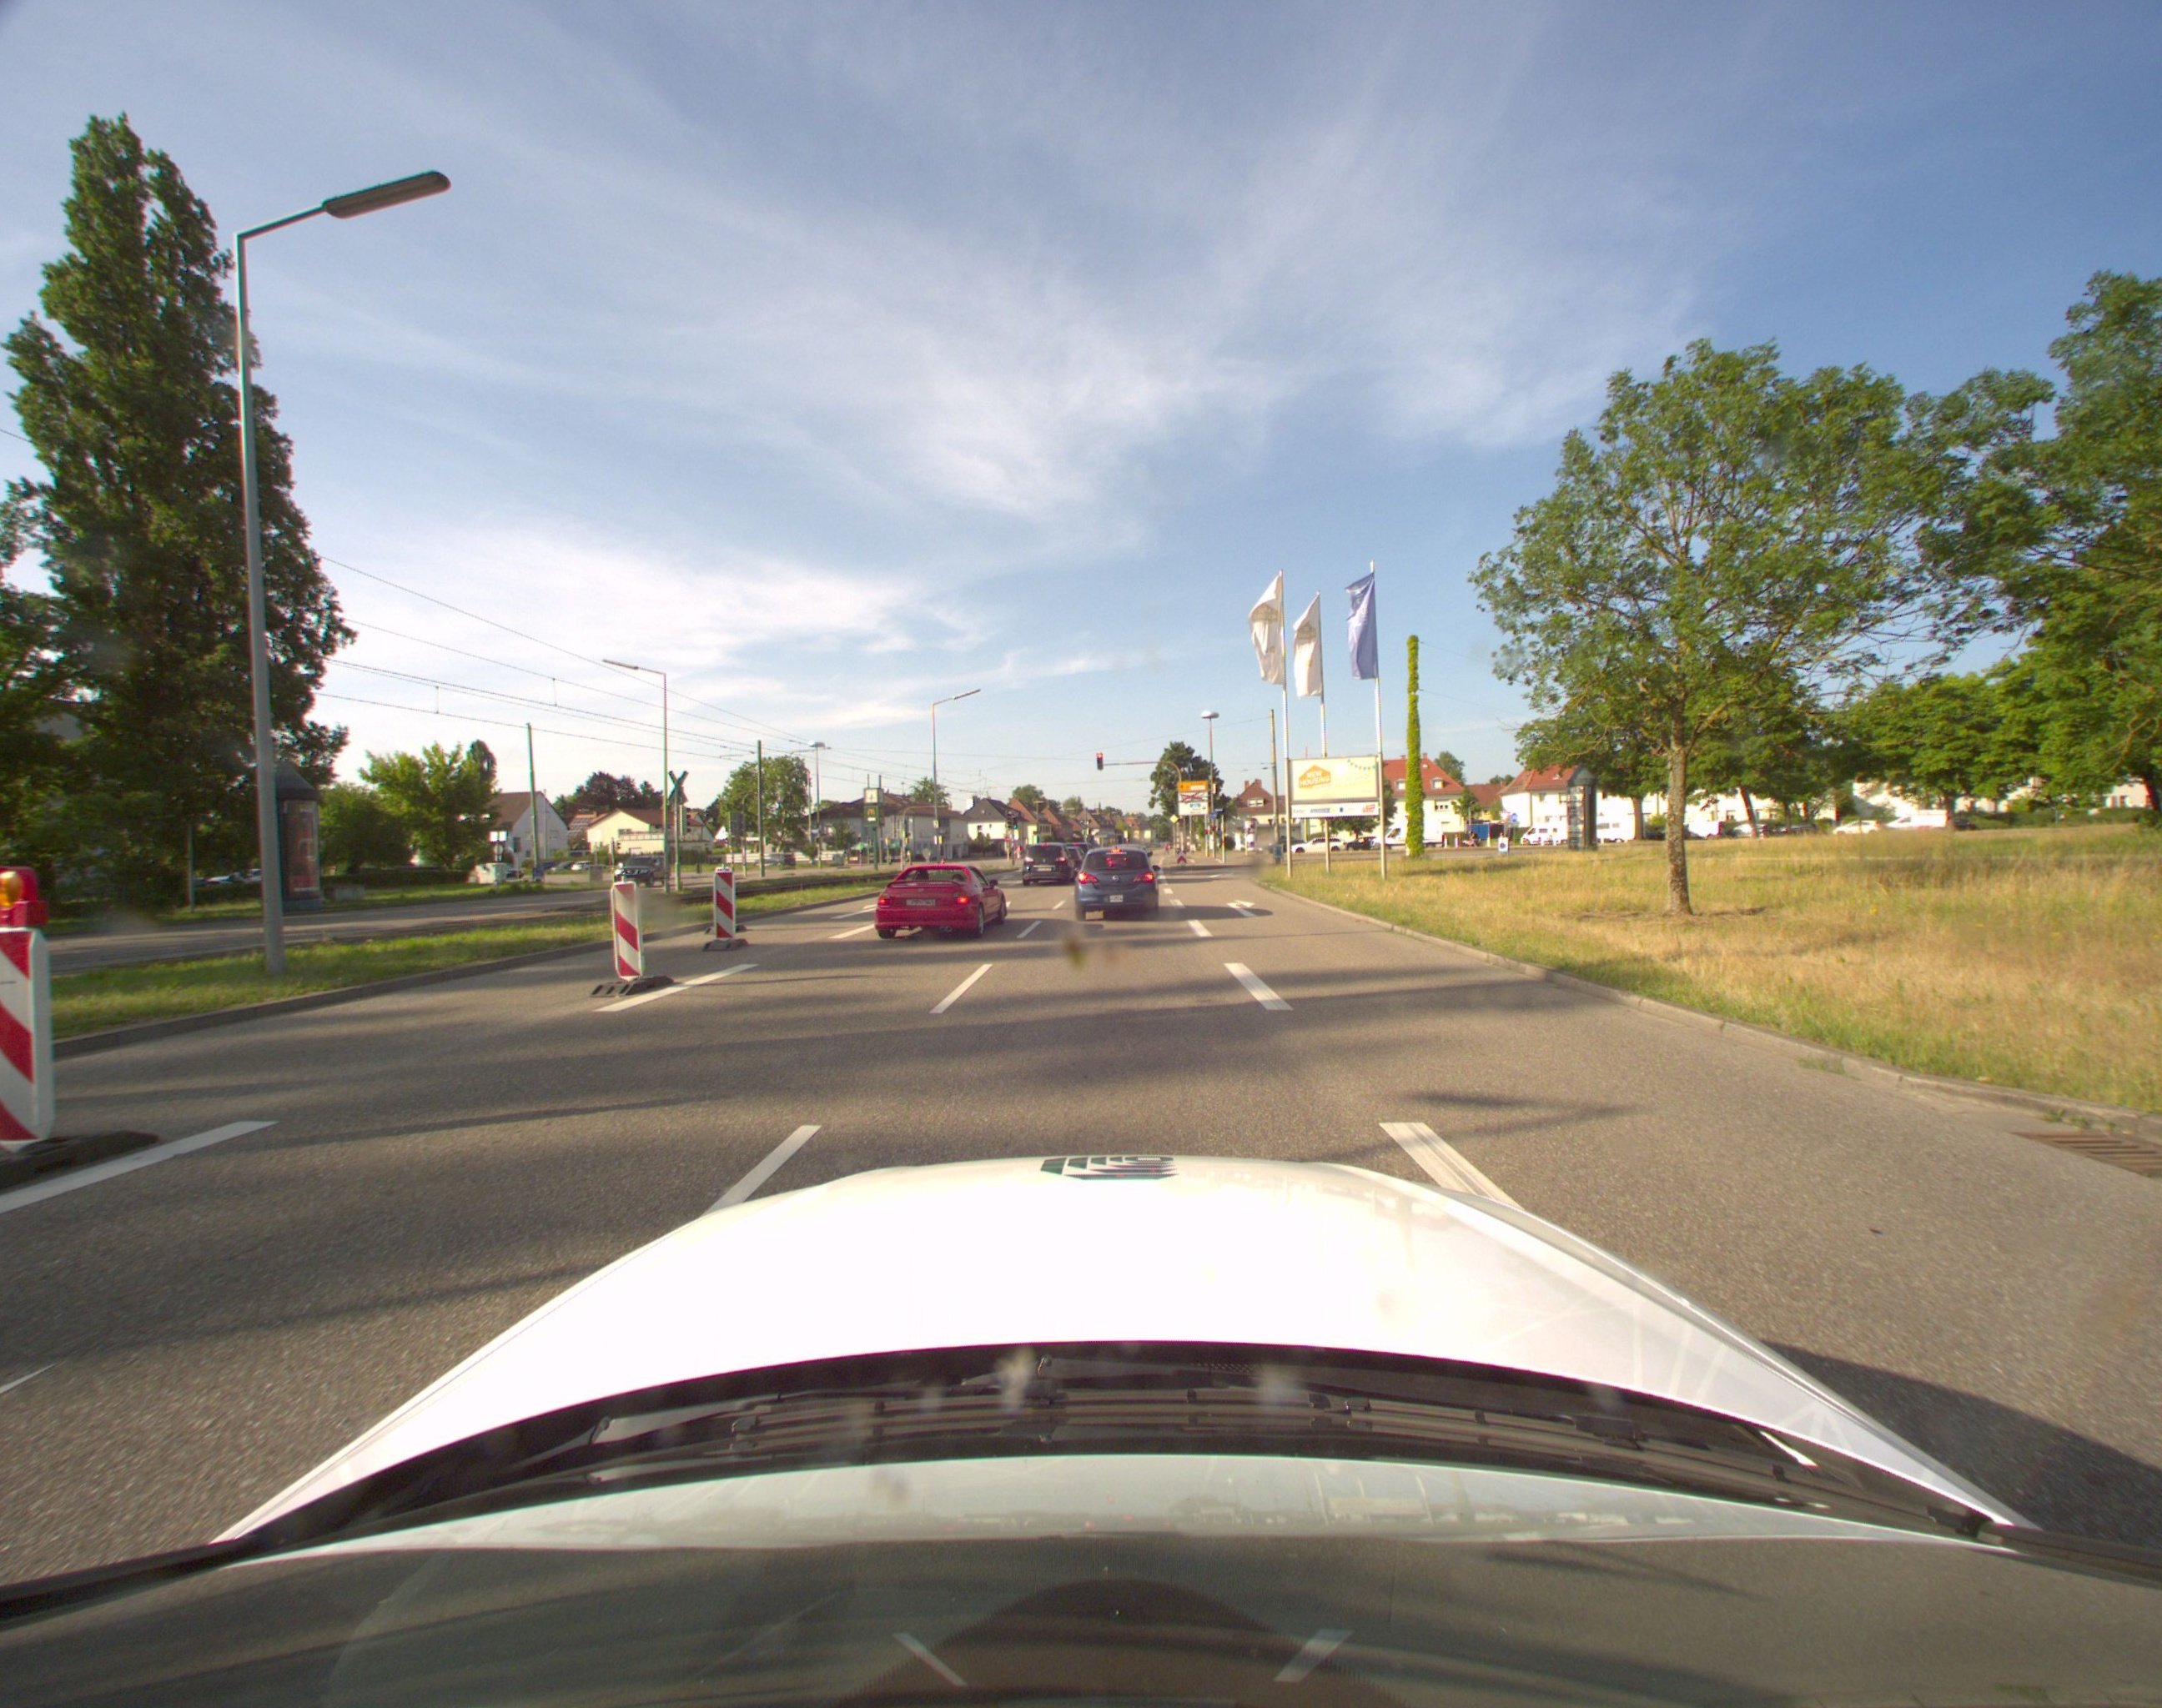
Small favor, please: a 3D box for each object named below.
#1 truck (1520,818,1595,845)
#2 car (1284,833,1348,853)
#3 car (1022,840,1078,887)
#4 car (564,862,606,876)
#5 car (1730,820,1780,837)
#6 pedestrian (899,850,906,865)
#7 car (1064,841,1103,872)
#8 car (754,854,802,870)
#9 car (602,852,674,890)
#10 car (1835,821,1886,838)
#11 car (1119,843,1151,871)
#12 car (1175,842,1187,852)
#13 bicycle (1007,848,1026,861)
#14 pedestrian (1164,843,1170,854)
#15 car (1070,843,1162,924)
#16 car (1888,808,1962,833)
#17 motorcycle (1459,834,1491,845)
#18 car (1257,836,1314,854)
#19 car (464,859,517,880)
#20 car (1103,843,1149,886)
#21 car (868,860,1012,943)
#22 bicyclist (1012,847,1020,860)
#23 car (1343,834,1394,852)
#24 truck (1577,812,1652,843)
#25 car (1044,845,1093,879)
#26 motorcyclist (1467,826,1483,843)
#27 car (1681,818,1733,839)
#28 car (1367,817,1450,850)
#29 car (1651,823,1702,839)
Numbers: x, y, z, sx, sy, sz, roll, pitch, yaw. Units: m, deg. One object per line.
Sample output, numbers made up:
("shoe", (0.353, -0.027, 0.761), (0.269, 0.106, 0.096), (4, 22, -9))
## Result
("truck", (48.349, -2.228, 82.751), (2.284, 2.523, 6.299), (-2, 1, -28))
("car", (20.214, -0.936, 70.144), (5.067, 1.563, 1.844), (-2, 0, 7))
("car", (-1.151, 0.317, 32.001), (1.756, 1.670, 4.088), (-1, 1, 3))
("car", (-60.879, 1.822, 100.061), (1.980, 1.684, 4.235), (0, 0, 13))
("car", (67.471, -2.516, 81.515), (1.904, 1.513, 3.461), (-2, 0, -36))
("pedestrian", (-19.624, 0.358, 89.442), (0.509, 1.599, 0.540), (-2, 0, 5))
("car", (0.212, 0.102, 46.845), (1.498, 1.651, 4.756), (-2, 1, 9))
("car", (-30.541, 0.787, 82.039), (3.962, 1.486, 2.006), (-2, 1, 10))
("car", (-25.922, 0.949, 47.879), (1.994, 2.013, 5.340), (-2, 1, -10))
("car", (77.360, -2.427, 80.864), (1.904, 1.513, 3.395), (-2, 0, -36))
("car", (3.072, 0.137, 46.044), (1.649, 1.443, 4.019), (-2, 1, 4))
("car", (14.609, -0.961, 119.205), (1.666, 1.398, 4.008), (0, 0, 7))
("bicycle", (-6.960, 0.069, 88.035), (2.069, 1.348, 1.107), (0, 0, -3))
("pedestrian", (12.029, -0.752, 113.672), (0.748, 1.499, 0.829), (0, 0, 10))
("car", (0.712, 0.550, 17.873), (1.736, 1.505, 4.223), (-2, 1, 1))
("car", (83.421, -3.279, 80.535), (2.010, 2.232, 4.921), (-2, 0, -39))
("motorcycle", (32.952, -1.237, 68.101), (2.260, 0.866, 0.692), (-2, 0, 5))
("car", (18.519, -0.794, 73.982), (4.798, 1.411, 1.719), (-2, 0, 7))
("car", (-54.245, 1.415, 74.826), (3.965, 1.793, 1.523), (-2, 0, 7))
("car", (1.825, 0.375, 32.674), (1.699, 1.551, 3.982), (-2, 1, 4))
("car", (-2.383, 0.763, 14.701), (1.724, 1.206, 3.850), (0, 1, 3))
("bicyclist", (-7.012, -0.080, 88.024), (0.882, 1.431, 1.135), (0, 0, -3))
("car", (25.748, -1.025, 73.041), (3.966, 1.453, 1.719), (-2, 0, 7))
("truck", (54.236, -2.638, 82.937), (1.906, 2.854, 6.007), (-2, 0, -40))
("car", (-0.555, 0.327, 39.331), (1.690, 1.508, 4.563), (-1, 1, 7))
("motorcyclist", (32.935, -1.613, 68.094), (1.060, 1.352, 0.681), (-2, 0, 5))
("car", (63.633, -2.576, 82.792), (1.906, 1.920, 3.863), (-2, 0, -40))
("car", (27.858, -1.715, 69.449), (6.176, 2.583, 2.004), (-2, 0, 6))
("car", (60.547, -2.310, 82.834), (1.907, 1.456, 3.862), (-2, 0, -43))
